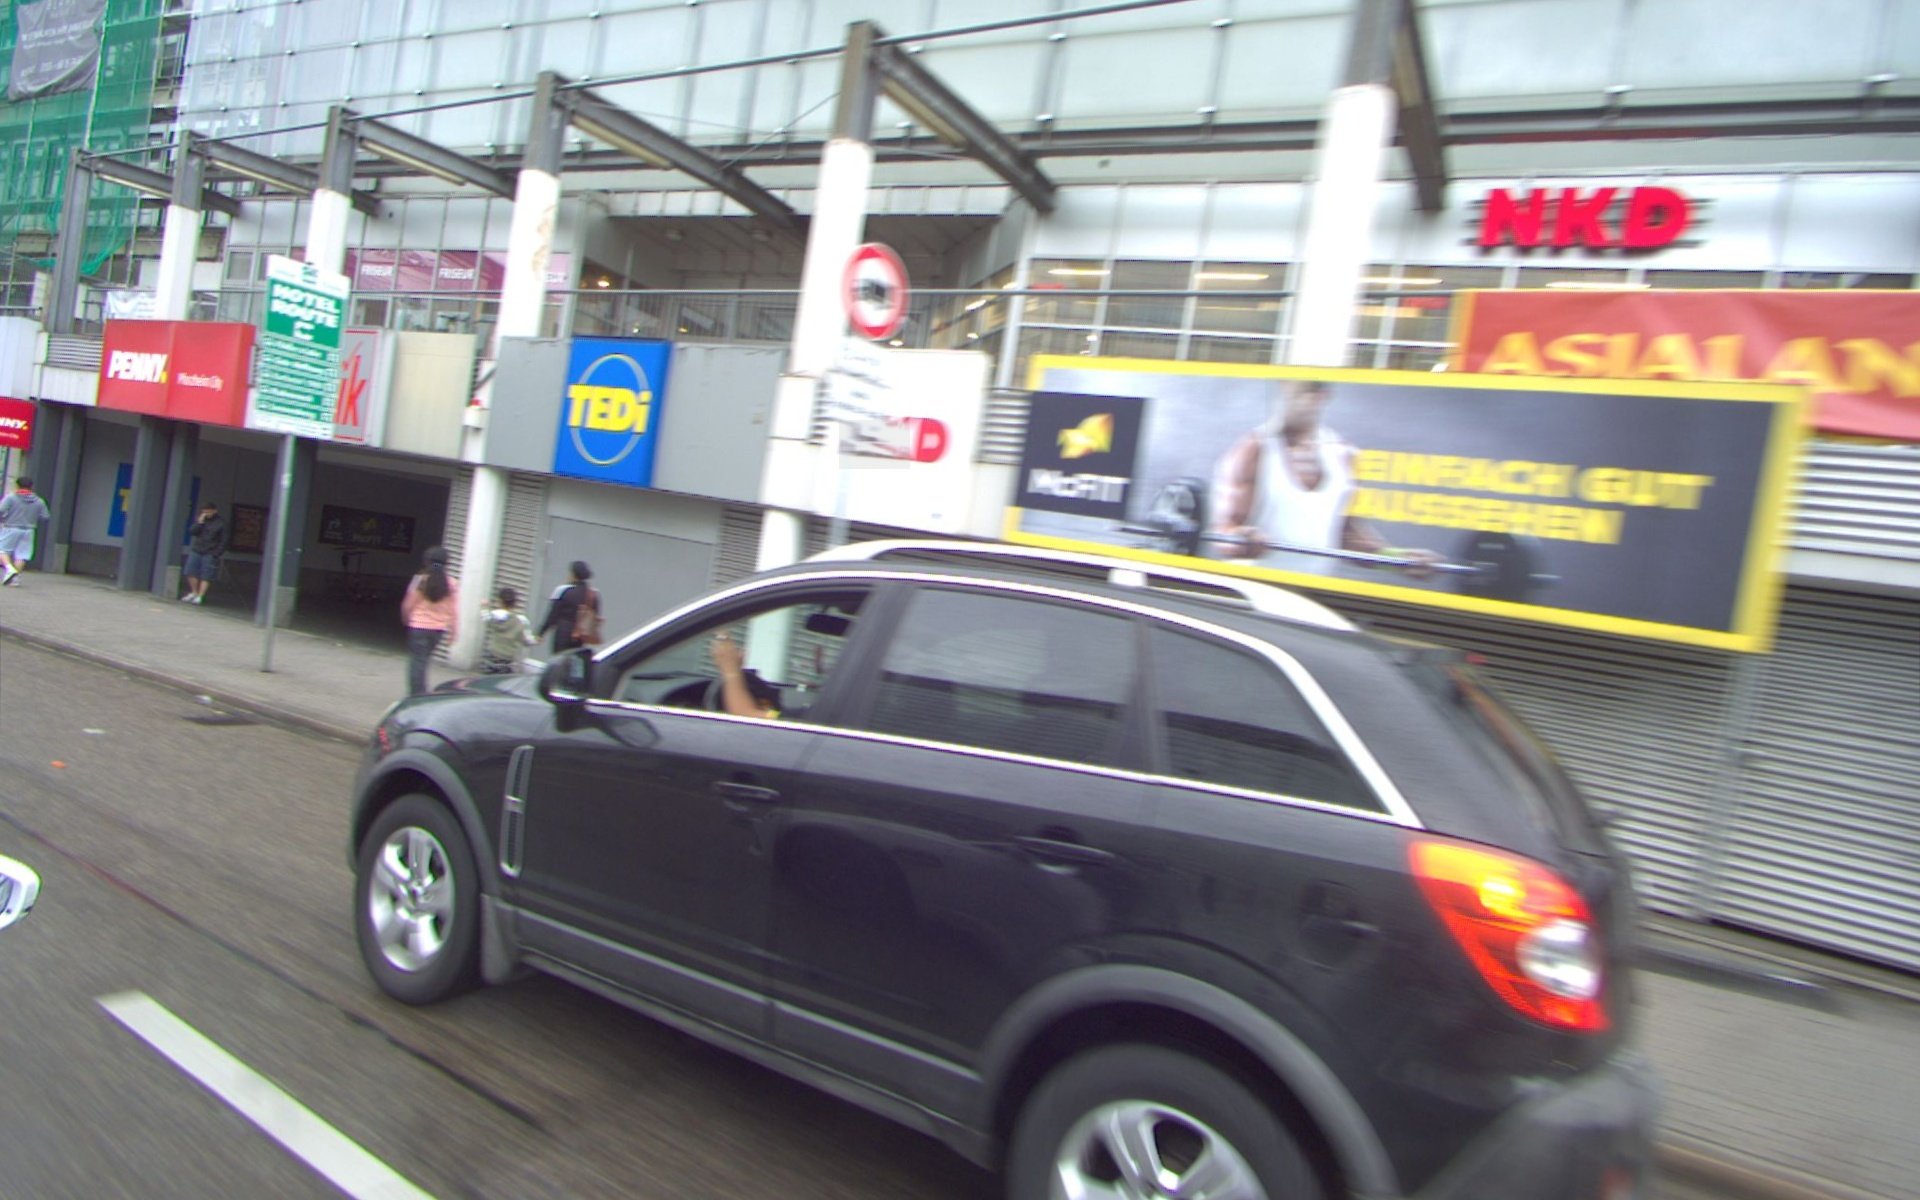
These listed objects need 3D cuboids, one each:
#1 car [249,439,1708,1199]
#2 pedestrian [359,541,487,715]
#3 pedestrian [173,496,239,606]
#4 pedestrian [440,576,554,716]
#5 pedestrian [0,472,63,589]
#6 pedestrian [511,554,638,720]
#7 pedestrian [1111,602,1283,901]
[{"bbox_3d":[-0.266,0.631,3.533,4.228,1.807,1.910,8,0,30],"label":"car"},{"bbox_3d":[-4.820,0.250,9.038,0.588,1.457,0.745,8,3,37],"label":"pedestrian"},{"bbox_3d":[-12.655,-0.829,16.884,0.666,1.737,0.808,6,2,-43],"label":"pedestrian"},{"bbox_3d":[-4.341,0.434,9.448,0.545,1.223,0.690,8,2,37],"label":"pedestrian"},{"bbox_3d":[-14.898,-1.116,15.899,0.816,1.744,0.835,8,2,37],"label":"pedestrian"},{"bbox_3d":[-3.724,0.358,9.718,0.694,1.486,0.771,8,2,40],"label":"pedestrian"},{"bbox_3d":[1.551,0.942,6.543,0.608,1.744,0.835,8,2,37],"label":"pedestrian"}]
